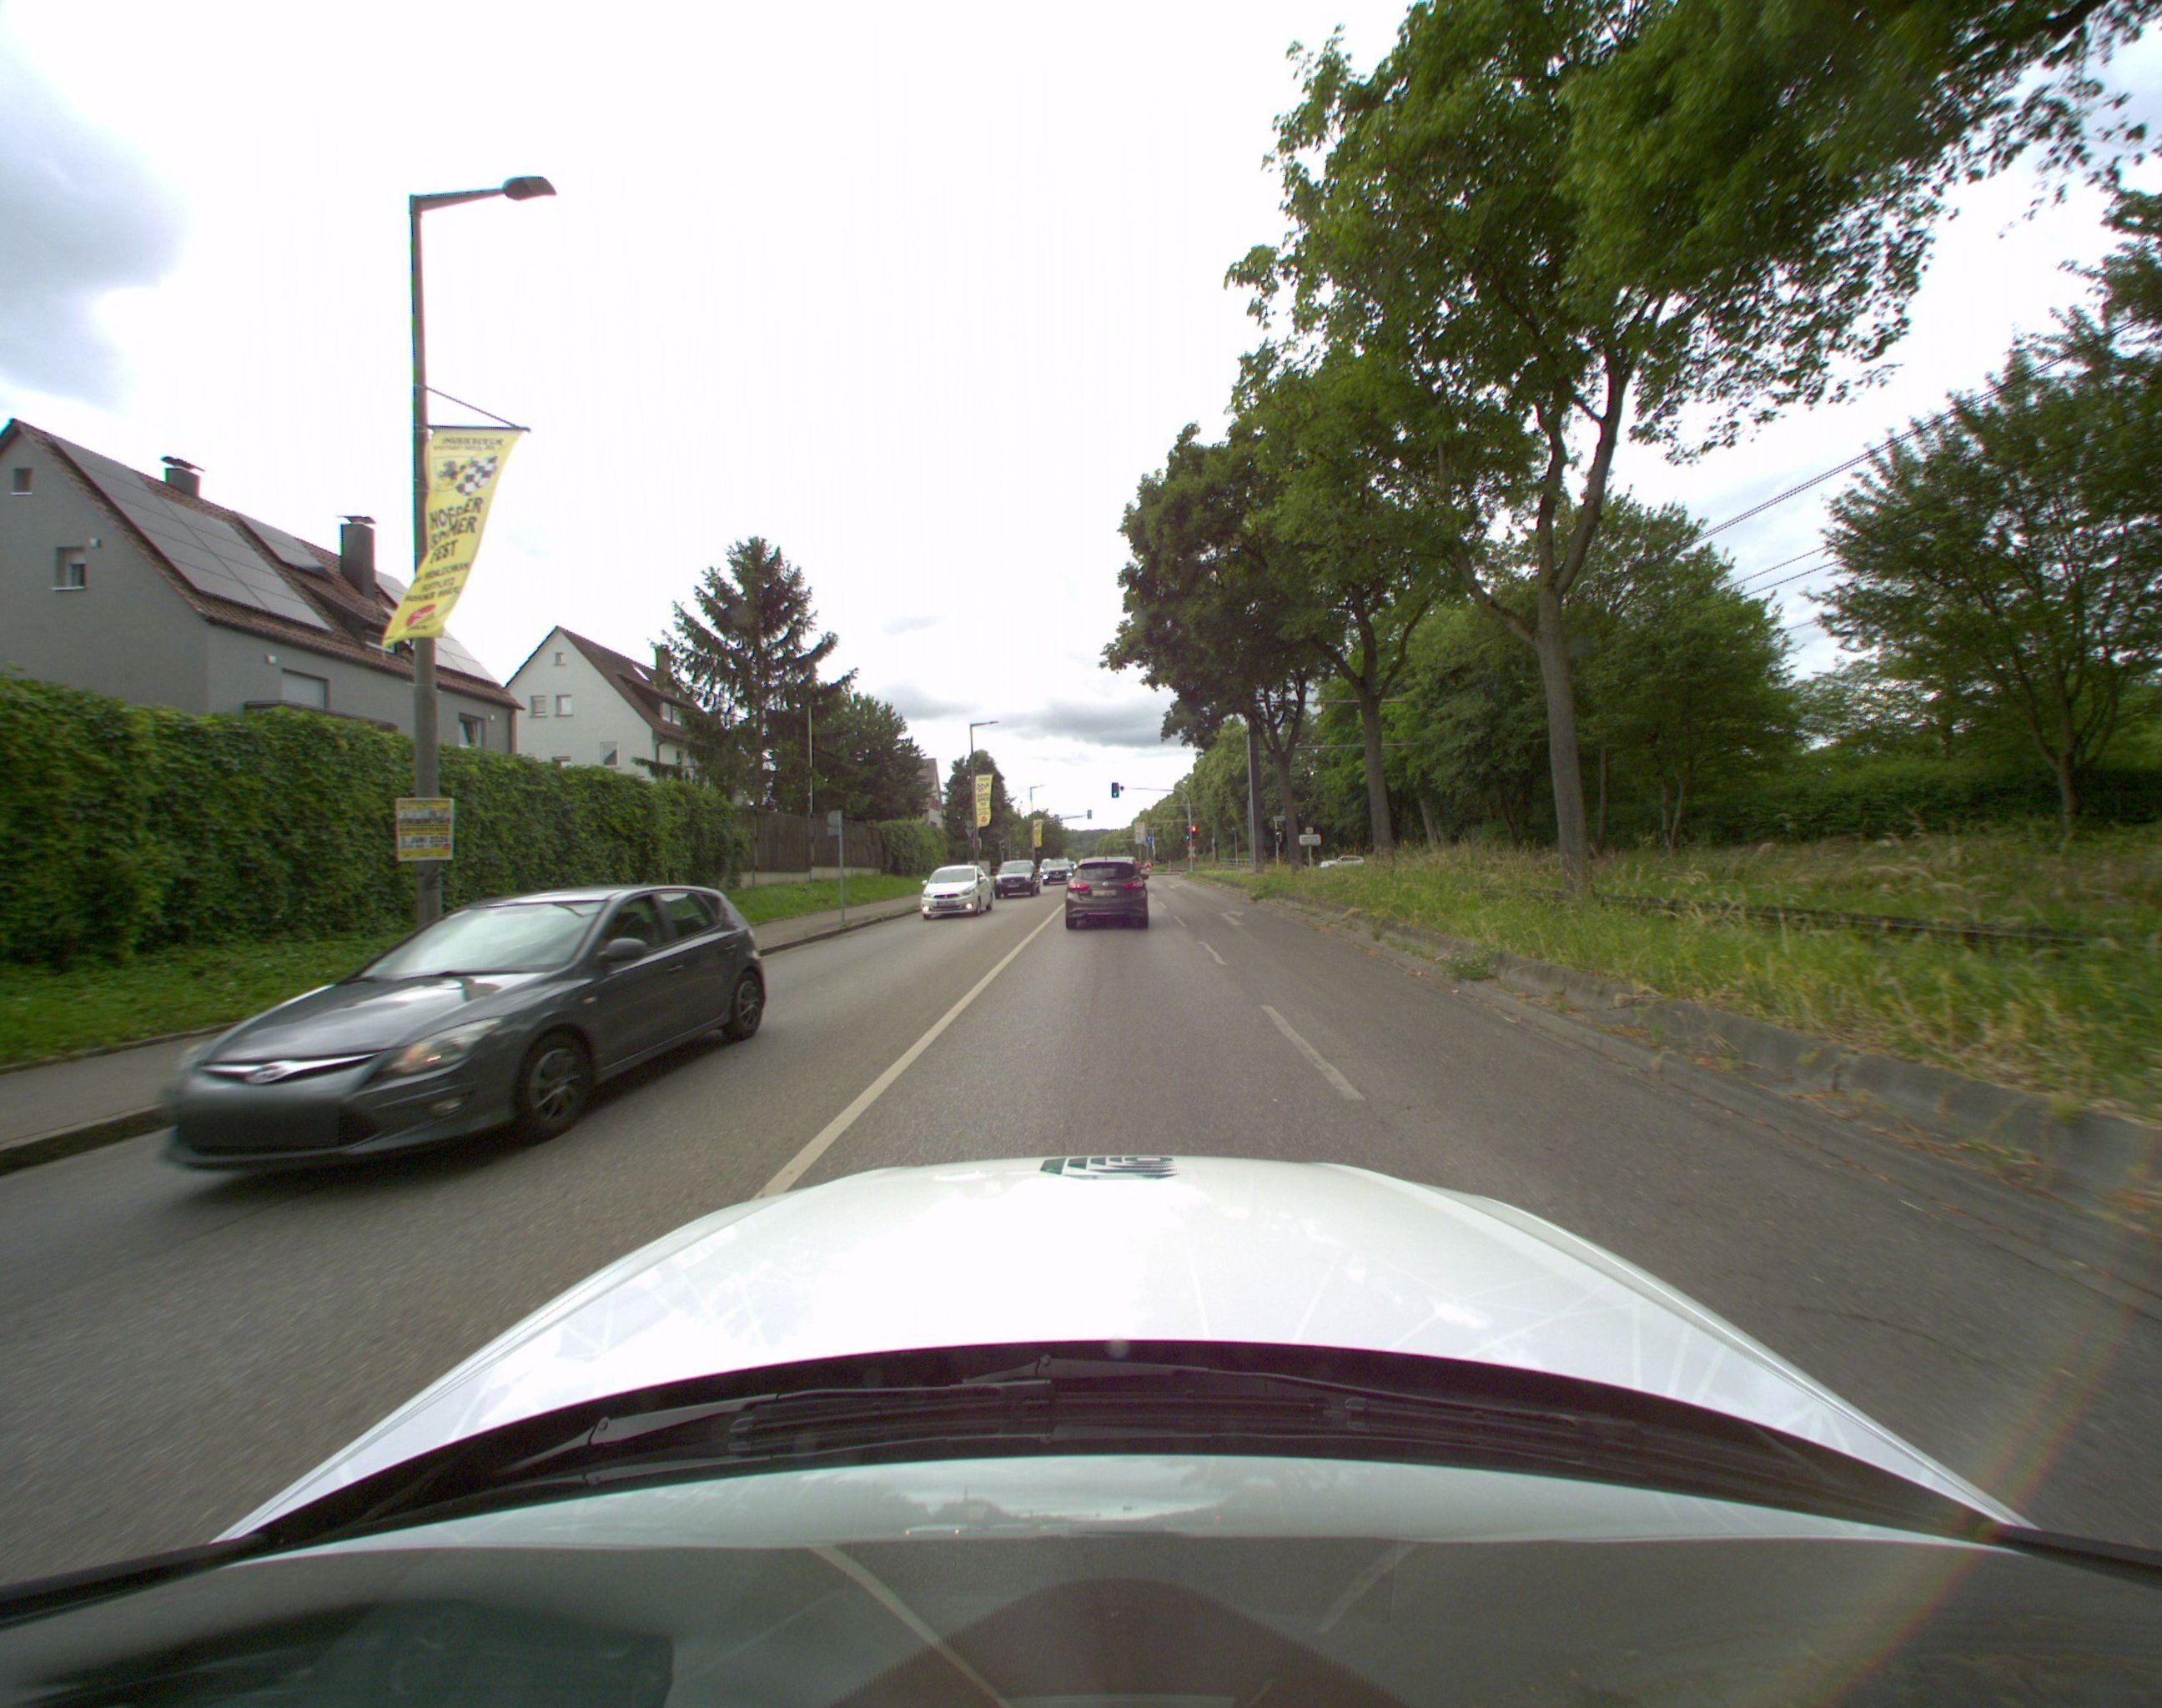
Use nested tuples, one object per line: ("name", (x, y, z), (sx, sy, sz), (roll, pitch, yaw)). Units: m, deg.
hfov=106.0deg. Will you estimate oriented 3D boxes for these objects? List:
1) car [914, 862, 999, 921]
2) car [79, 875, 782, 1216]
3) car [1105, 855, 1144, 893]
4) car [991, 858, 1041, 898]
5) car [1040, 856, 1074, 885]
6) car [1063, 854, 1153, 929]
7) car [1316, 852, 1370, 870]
("car", (-3.656, 1.065, 24.610), (1.611, 1.461, 4.075), (-5, 0, 3))
("car", (-3.959, 0.992, 6.068), (1.721, 1.464, 4.155), (-3, 0, 2))
("car", (1.859, 0.809, 35.252), (1.532, 1.478, 3.766), (-3, 0, 2))
("car", (-2.671, 0.958, 34.357), (1.637, 1.481, 4.107), (-4, 0, 1))
("car", (-1.410, 0.971, 49.053), (1.806, 1.524, 4.177), (-4, 0, 1))
("car", (0.653, 0.762, 18.849), (1.828, 1.519, 4.485), (-1, 0, 2))
("car", (22.628, 0.602, 70.342), (3.978, 1.354, 1.998), (2, 0, -4))
